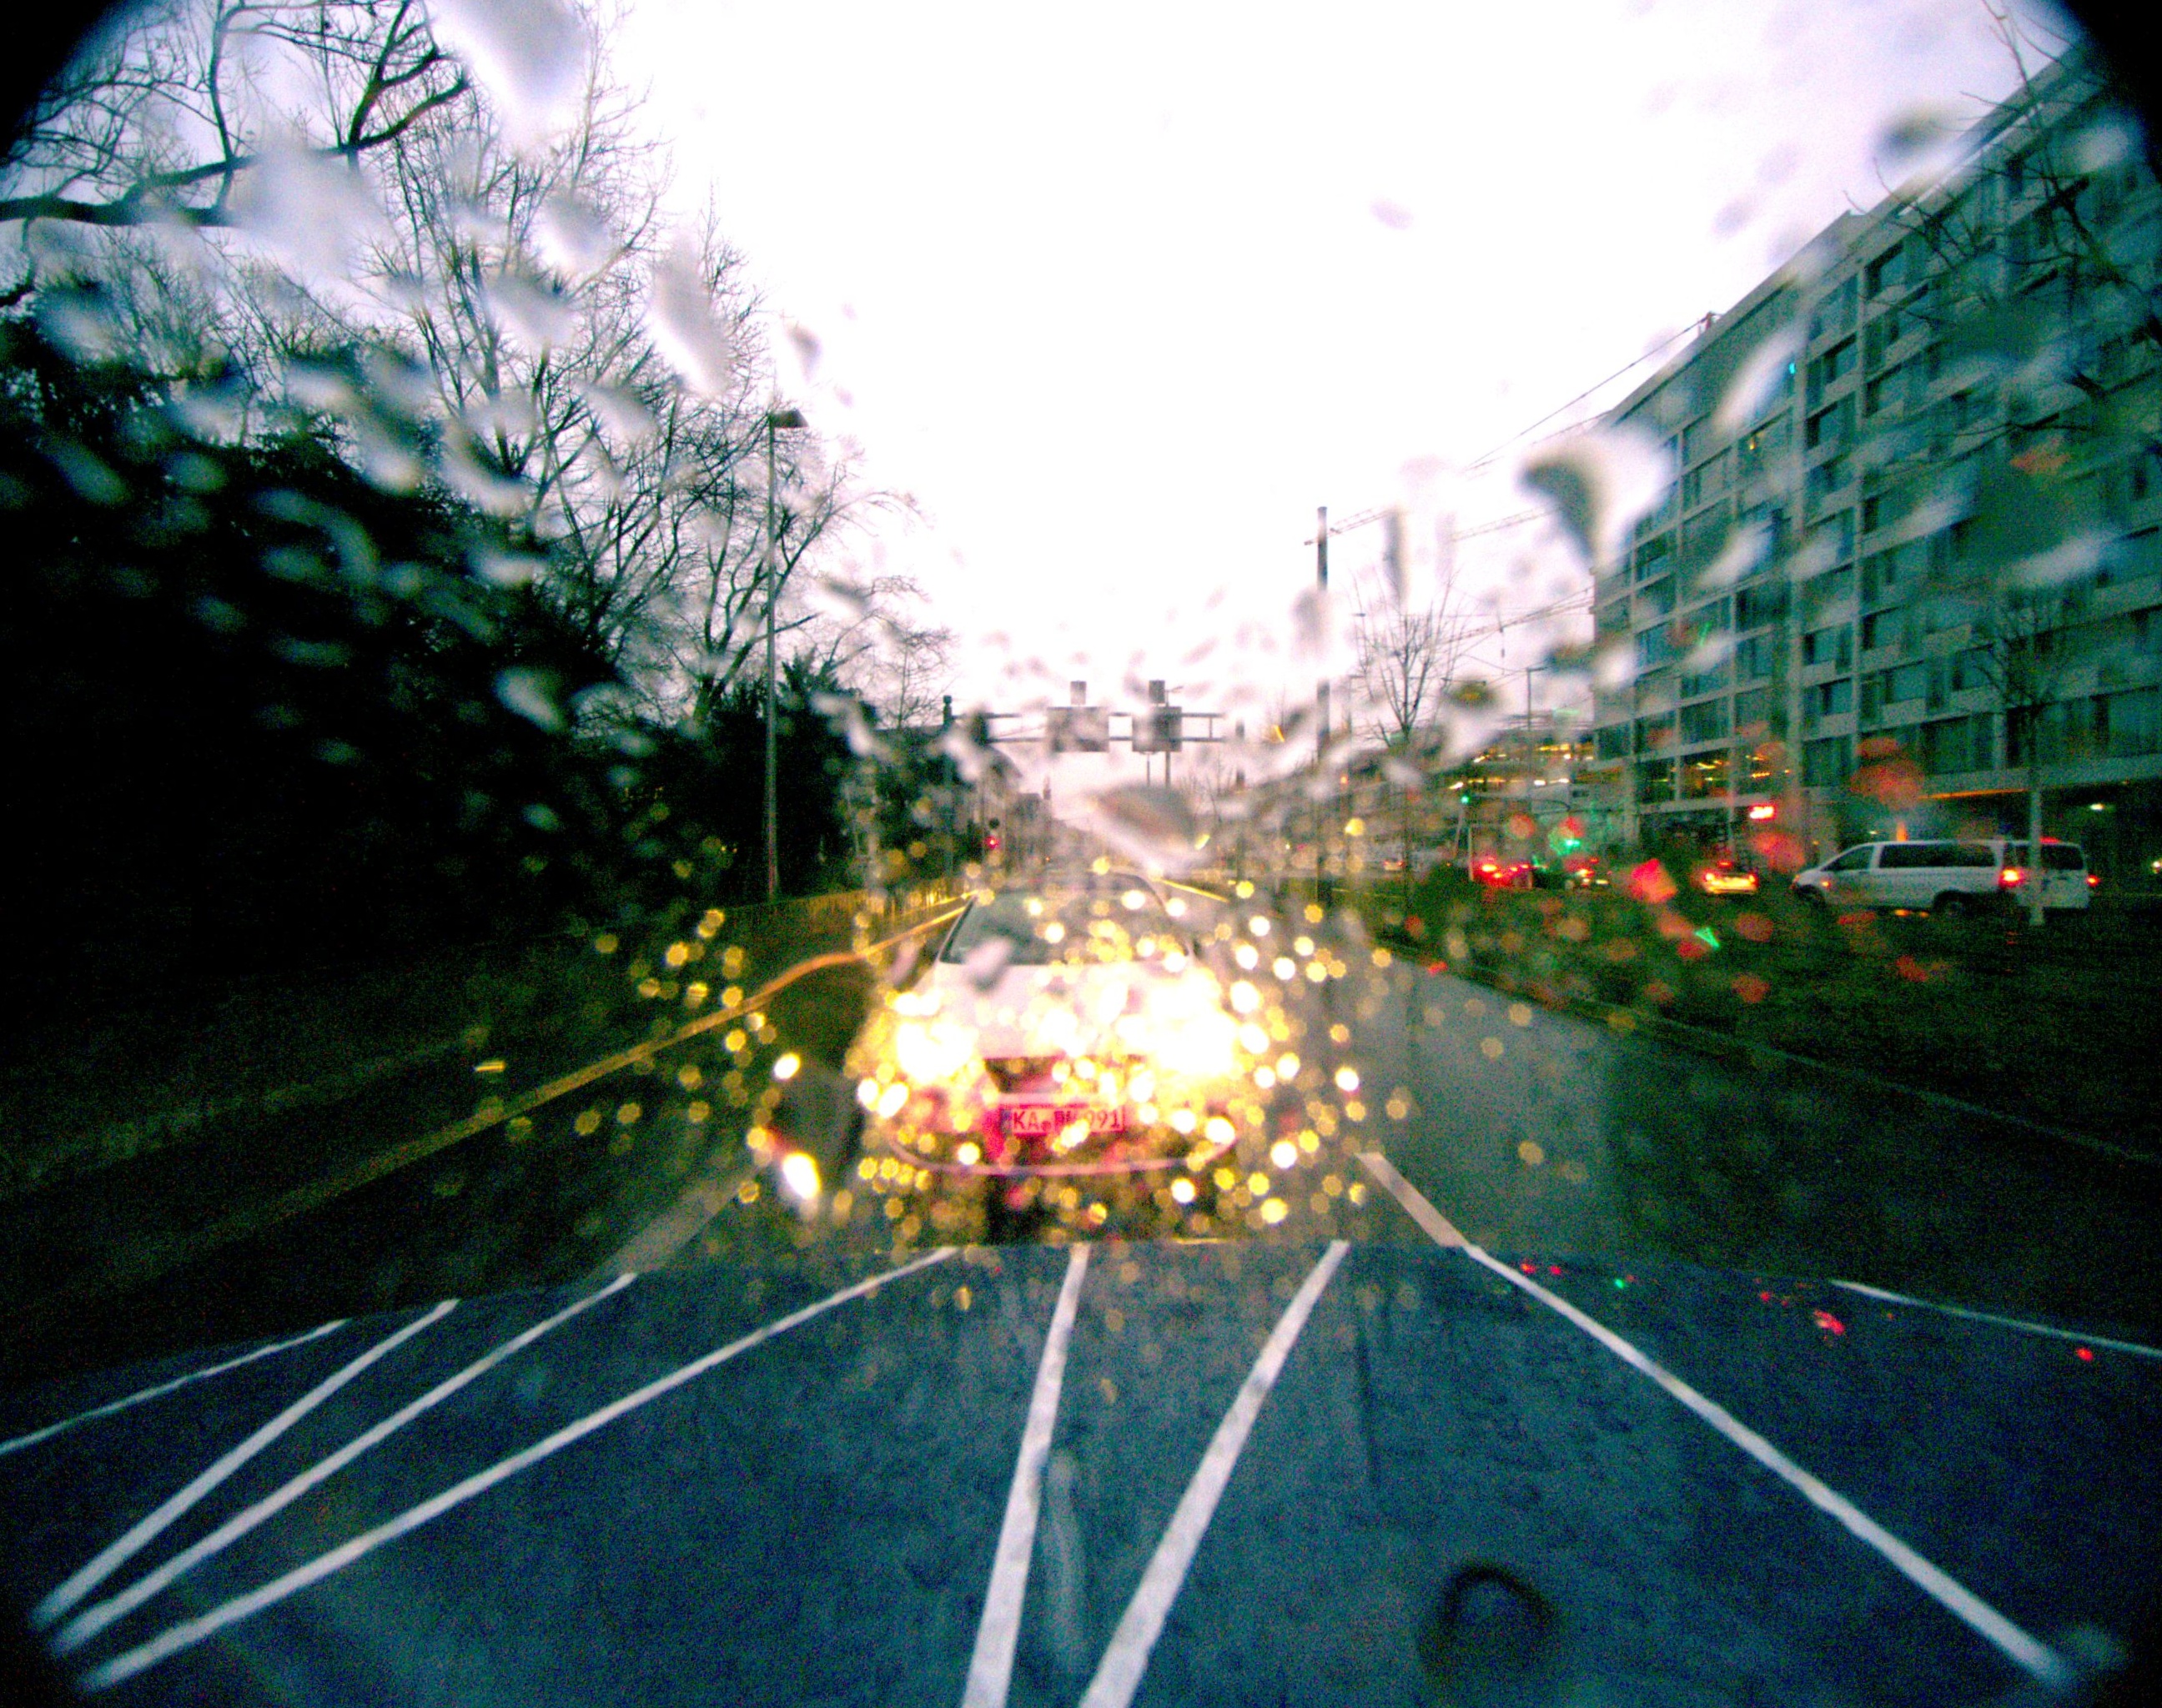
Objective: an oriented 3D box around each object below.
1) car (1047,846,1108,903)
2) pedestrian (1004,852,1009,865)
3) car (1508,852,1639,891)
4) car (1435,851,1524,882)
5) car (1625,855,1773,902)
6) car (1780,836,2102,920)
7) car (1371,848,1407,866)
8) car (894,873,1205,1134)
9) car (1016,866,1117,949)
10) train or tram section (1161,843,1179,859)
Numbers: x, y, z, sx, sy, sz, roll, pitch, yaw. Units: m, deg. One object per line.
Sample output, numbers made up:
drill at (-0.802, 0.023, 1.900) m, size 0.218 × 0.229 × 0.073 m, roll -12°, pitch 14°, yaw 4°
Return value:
car at (-0.098, 0.610, 24.829) m, size 1.781 × 1.666 × 3.981 m, roll -2°, pitch 1°, yaw 0°
pedestrian at (-9.006, 0.519, 91.950) m, size 0.521 × 1.501 × 0.588 m, roll 0°, pitch 1°, yaw 1°
car at (20.500, 0.677, 31.892) m, size 2.001 × 1.488 × 4.444 m, roll 0°, pitch 0°, yaw -15°
car at (20.121, 0.588, 38.683) m, size 1.998 × 1.459 × 5.034 m, roll 0°, pitch 0°, yaw 1°
car at (20.359, 0.759, 25.243) m, size 1.901 × 1.423 × 3.706 m, roll 0°, pitch 0°, yaw 0°
car at (19.871, 0.481, 18.033) m, size 1.900 × 1.709 × 5.118 m, roll 0°, pitch 0°, yaw 1°
car at (30.190, 0.314, 74.603) m, size 1.900 × 1.709 × 4.918 m, roll 0°, pitch 0°, yaw 5°
car at (-0.185, 0.934, 6.480) m, size 1.798 × 1.363 × 3.981 m, roll -2°, pitch 1°, yaw 0°
car at (-0.253, 0.966, 15.241) m, size 1.728 × 1.318 × 3.981 m, roll -2°, pitch 1°, yaw 0°
train or tram section at (20.372, -0.652, 174.996) m, size 2.964 × 3.466 × 14.266 m, roll 0°, pitch 0°, yaw 1°
